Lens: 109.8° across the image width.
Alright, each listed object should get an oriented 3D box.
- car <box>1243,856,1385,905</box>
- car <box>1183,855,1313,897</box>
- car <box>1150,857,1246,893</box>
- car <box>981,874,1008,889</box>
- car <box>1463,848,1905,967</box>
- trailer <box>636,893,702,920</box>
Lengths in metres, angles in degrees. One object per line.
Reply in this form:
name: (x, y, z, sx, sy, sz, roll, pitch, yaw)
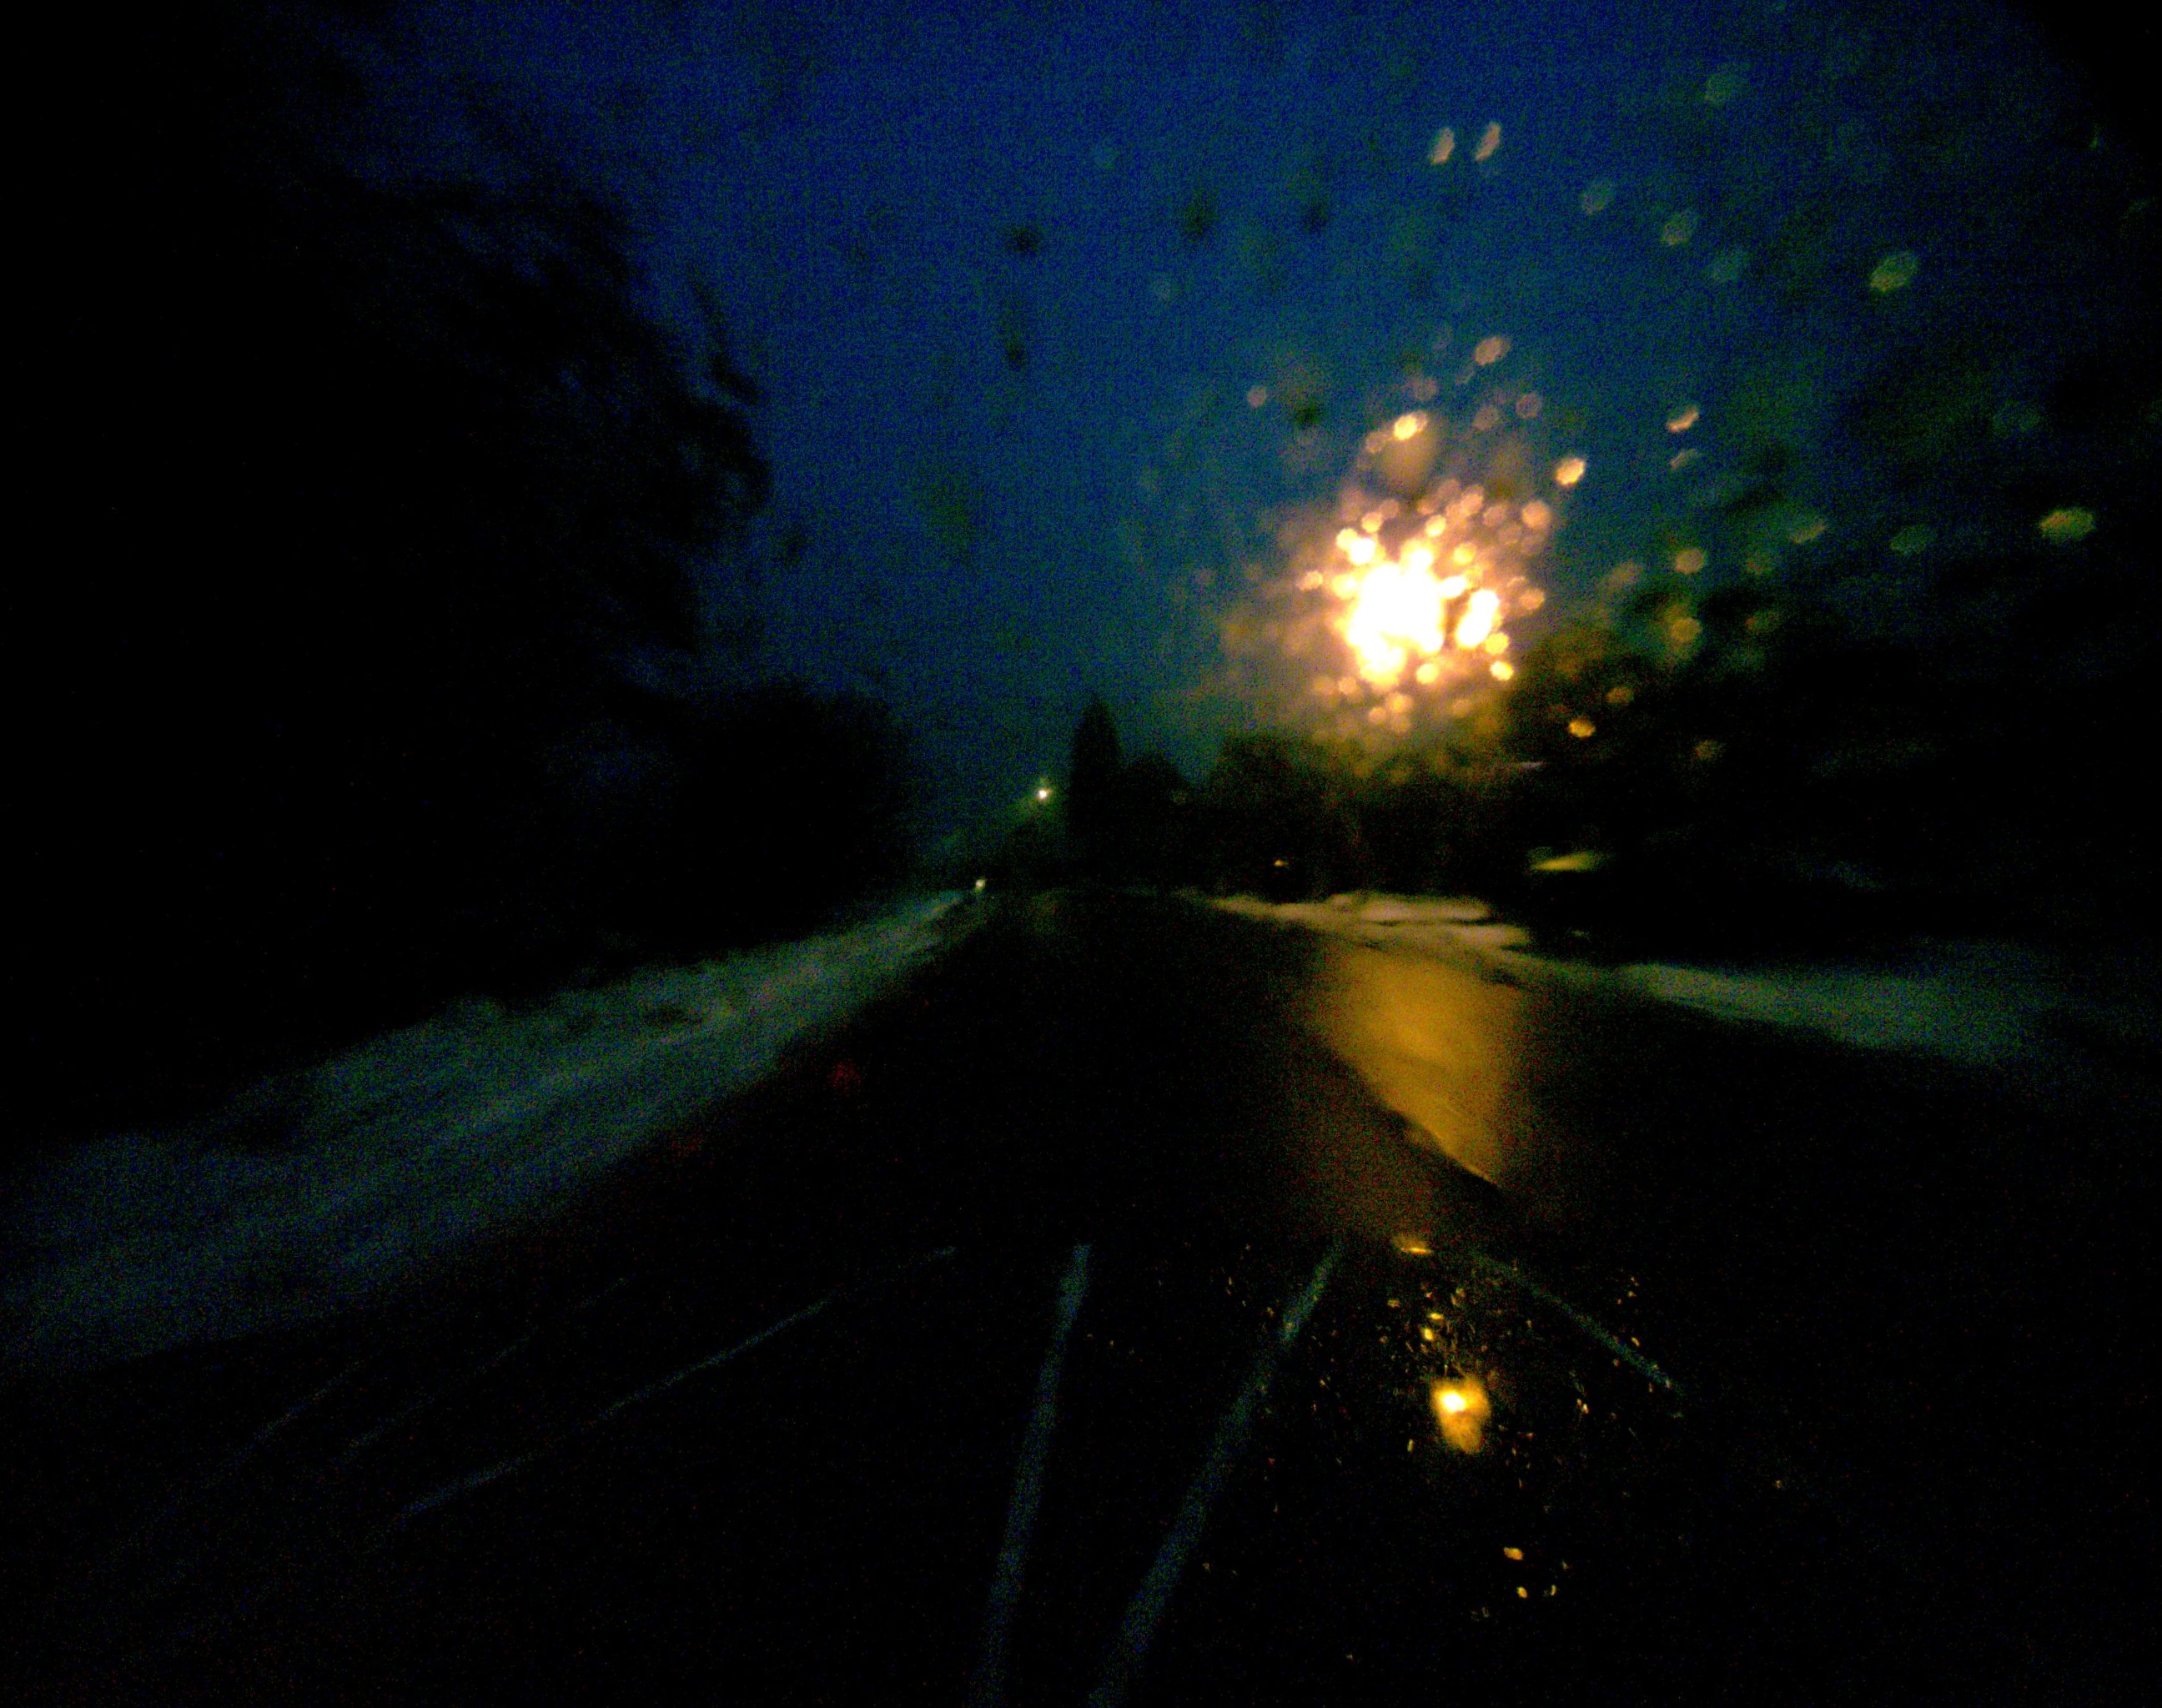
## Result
car: (7.348, 0.804, 24.133, 3.868, 1.463, 1.937, 0, -1, -11)
car: (6.545, 0.840, 29.900, 4.545, 1.557, 2.108, 0, -1, -15)
car: (5.358, 0.940, 35.548, 2.003, 1.557, 4.987, 1, -1, -25)
car: (-9.899, 3.122, 86.232, 1.884, 1.417, 5.386, -4, -2, -19)
car: (8.374, 0.685, 10.824, 4.903, 1.476, 2.122, 0, -1, -7)
trailer: (-36.124, 4.592, 66.786, 4.761, 1.930, 2.221, -4, -2, -23)
